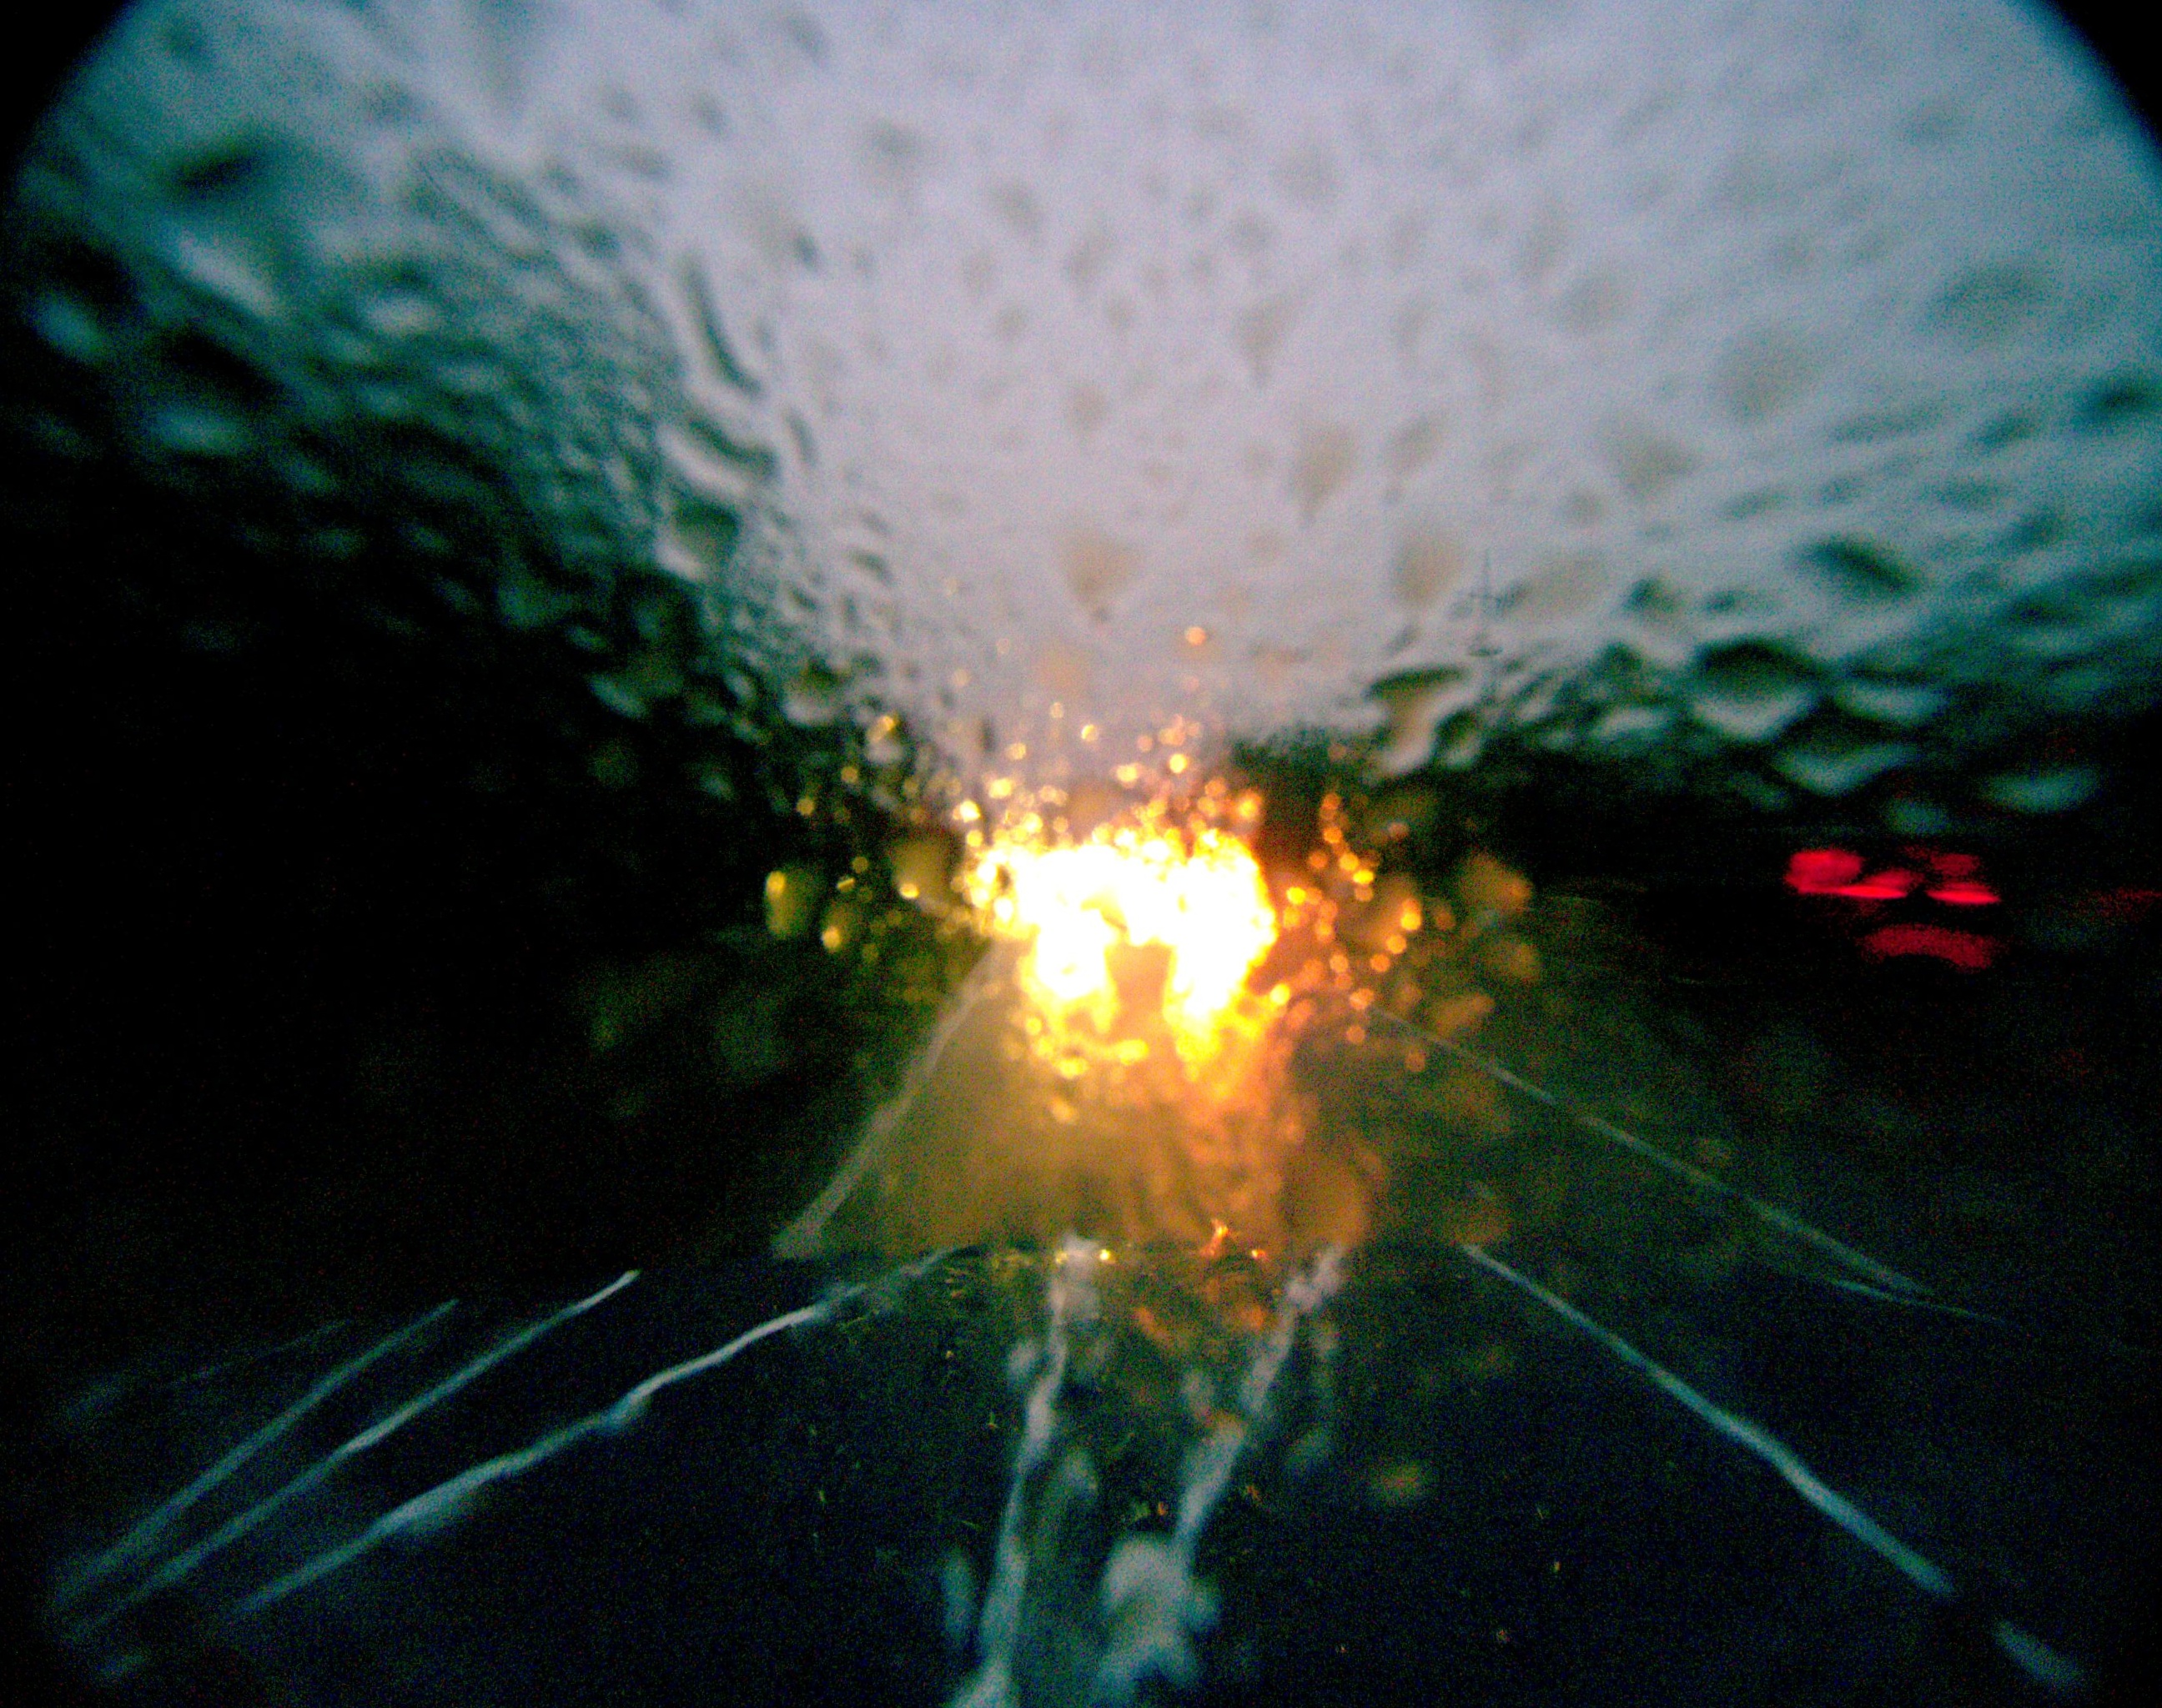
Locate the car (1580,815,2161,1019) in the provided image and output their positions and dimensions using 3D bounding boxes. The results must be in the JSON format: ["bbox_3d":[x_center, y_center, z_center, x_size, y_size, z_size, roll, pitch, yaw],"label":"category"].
[{"bbox_3d":[7.651,0.471,8.152,1.650,1.547,4.380,-2,1,-1],"label":"car"}]

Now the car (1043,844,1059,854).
[{"bbox_3d":[-5.019,-0.815,126.142,2.000,1.639,4.718,-2,1,-9],"label":"car"}]

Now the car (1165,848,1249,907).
[{"bbox_3d":[3.522,0.604,21.960,1.636,1.413,4.170,-3,1,-1],"label":"car"}]

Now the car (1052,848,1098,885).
[{"bbox_3d":[-0.299,0.483,33.120,1.850,1.429,4.243,-2,1,-1],"label":"car"}]

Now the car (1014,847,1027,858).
[{"bbox_3d":[-10.014,-0.230,125.433,1.702,1.721,3.996,-3,1,-8],"label":"car"}]
